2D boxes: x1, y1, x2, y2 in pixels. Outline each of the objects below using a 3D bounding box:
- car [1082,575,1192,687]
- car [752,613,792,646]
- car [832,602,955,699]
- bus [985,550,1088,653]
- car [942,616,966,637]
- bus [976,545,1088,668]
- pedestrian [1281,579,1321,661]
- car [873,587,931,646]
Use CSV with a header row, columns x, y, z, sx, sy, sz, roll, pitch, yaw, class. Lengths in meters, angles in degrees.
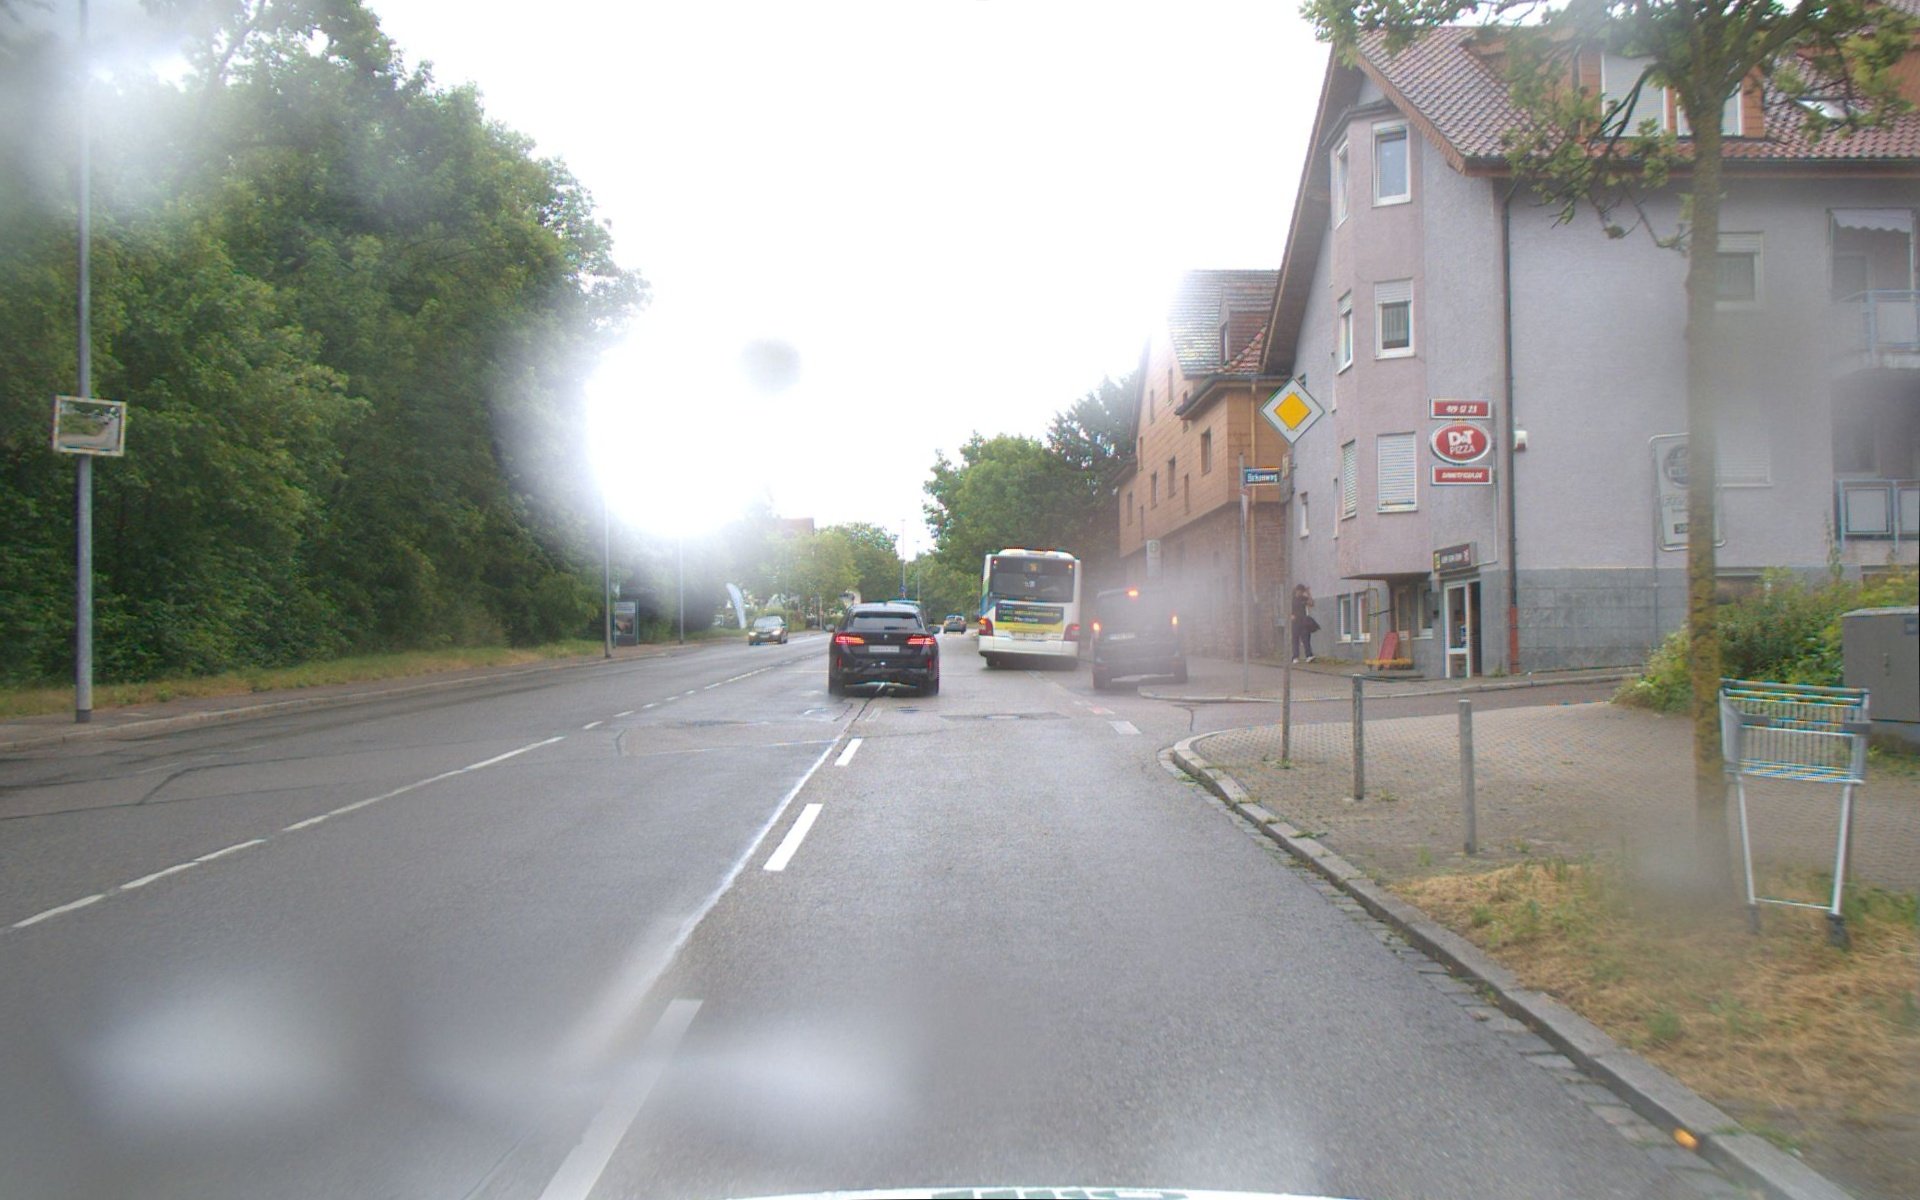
x,y,z,sx,sy,sz,roll,pitch,yaw,class
3.550,0.591,32.647,1.886,1.925,4.765,-4,-1,8,car
-9.849,1.547,86.861,1.734,1.560,3.999,-2,1,-2,car
-1.226,0.820,28.890,1.954,1.478,3.997,2,0,-4,car
2.306,-0.007,53.144,2.570,2.897,9.792,-2,1,-1,bus
-0.502,2.160,136.946,1.828,1.545,3.999,-1,1,-2,car
2.066,0.101,44.291,2.568,2.897,8.294,-2,1,5,bus
7.596,0.432,36.820,0.676,1.785,0.669,-2,0,-2,pedestrian
-2.053,0.556,59.306,1.953,2.049,4.000,0,0,-1,car
